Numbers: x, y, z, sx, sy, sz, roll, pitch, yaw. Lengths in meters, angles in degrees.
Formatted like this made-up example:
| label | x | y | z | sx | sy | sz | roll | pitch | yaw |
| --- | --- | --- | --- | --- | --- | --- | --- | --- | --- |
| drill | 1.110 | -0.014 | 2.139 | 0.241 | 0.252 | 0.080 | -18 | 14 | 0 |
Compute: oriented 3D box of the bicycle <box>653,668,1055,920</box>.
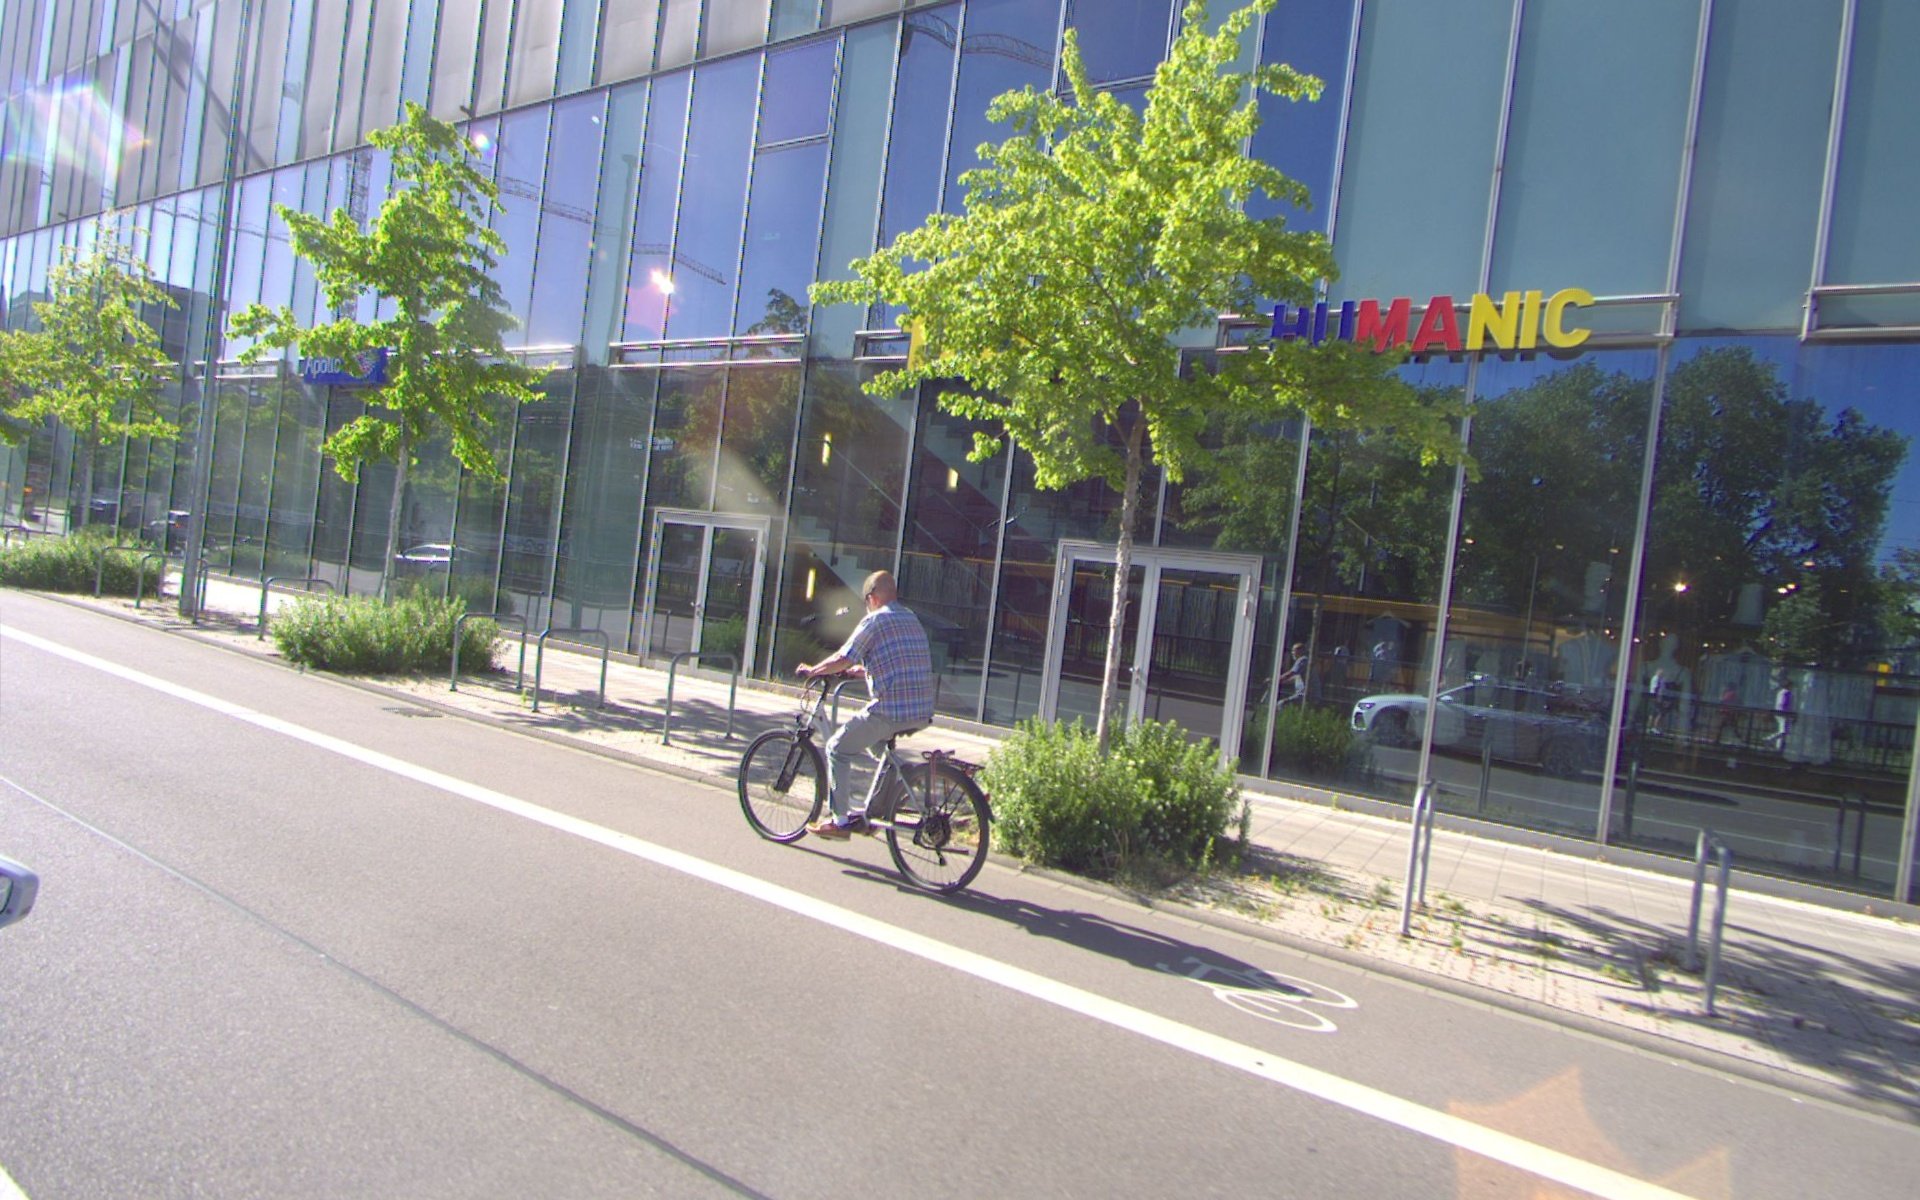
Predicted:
| label | x | y | z | sx | sy | sz | roll | pitch | yaw |
| --- | --- | --- | --- | --- | --- | --- | --- | --- | --- |
| bicycle | -0.680 | 1.065 | 6.046 | 2.293 | 0.995 | 0.730 | 7 | -1 | 28 |

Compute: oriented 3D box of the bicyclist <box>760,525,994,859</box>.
| label | x | y | z | sx | sy | sz | roll | pitch | yaw |
| --- | --- | --- | --- | --- | --- | --- | --- | --- | --- |
| bicyclist | -0.487 | 0.509 | 6.011 | 0.980 | 1.758 | 0.726 | 7 | 1 | 28 |
